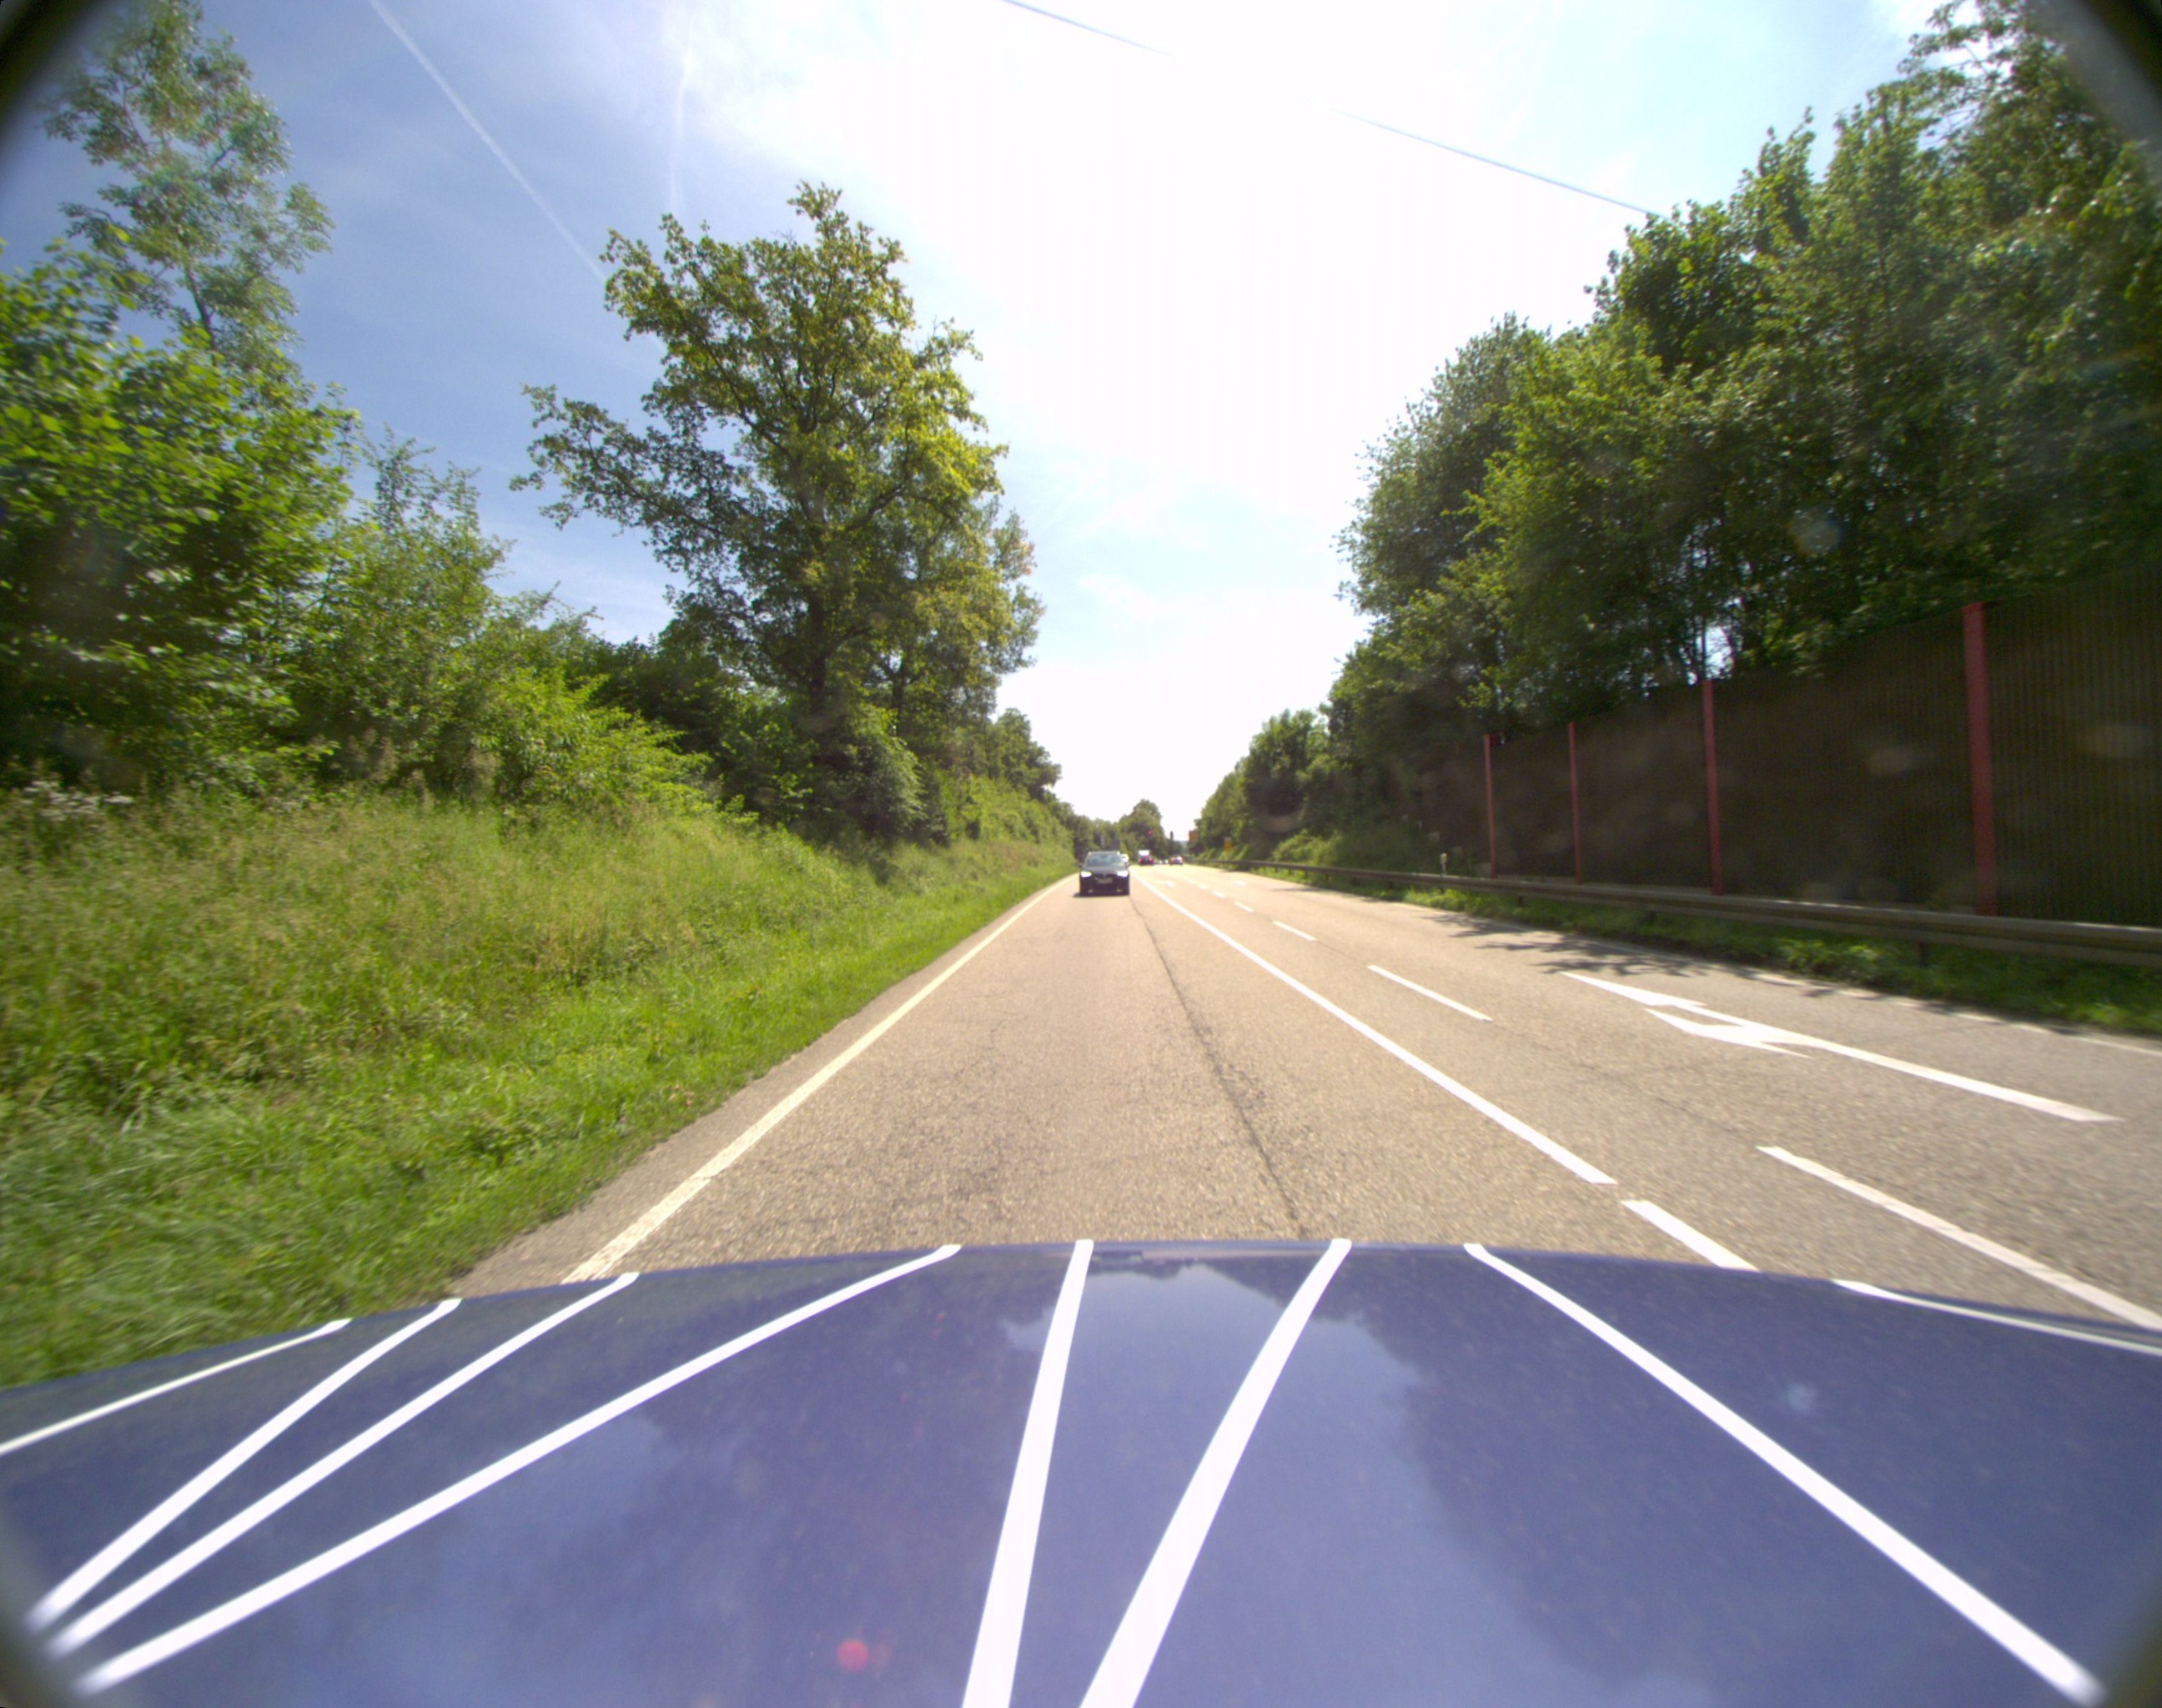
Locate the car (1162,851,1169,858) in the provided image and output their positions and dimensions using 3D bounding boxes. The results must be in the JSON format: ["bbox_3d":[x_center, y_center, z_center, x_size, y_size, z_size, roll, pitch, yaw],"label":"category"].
[{"bbox_3d":[25.373,0.054,228.250,1.997,2.002,4.003,-3,0,9],"label":"car"}]

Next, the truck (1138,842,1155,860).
[{"bbox_3d":[15.279,-0.749,176.834,2.837,3.795,8.456,-3,1,12],"label":"truck"}]

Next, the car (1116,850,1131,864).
[{"bbox_3d":[6.685,0.458,119.439,1.998,2.002,4.002,-3,0,6],"label":"car"}]

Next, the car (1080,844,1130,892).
[{"bbox_3d":[0.848,0.469,27.522,1.626,1.535,4.000,-3,0,1],"label":"car"}]

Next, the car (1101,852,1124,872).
[{"bbox_3d":[2.860,0.713,69.454,1.770,1.674,4.000,-3,0,-1],"label":"car"}]

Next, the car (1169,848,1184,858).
[{"bbox_3d":[13.029,-0.136,104.204,1.810,1.427,3.872,-1,0,4],"label":"car"}]

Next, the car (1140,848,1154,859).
[{"bbox_3d":[9.068,-0.049,104.233,1.808,1.445,4.388,-2,0,6],"label":"car"}]

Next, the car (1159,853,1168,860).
[{"bbox_3d":[23.236,0.609,214.121,1.997,1.791,4.003,-3,0,9],"label":"car"}]
